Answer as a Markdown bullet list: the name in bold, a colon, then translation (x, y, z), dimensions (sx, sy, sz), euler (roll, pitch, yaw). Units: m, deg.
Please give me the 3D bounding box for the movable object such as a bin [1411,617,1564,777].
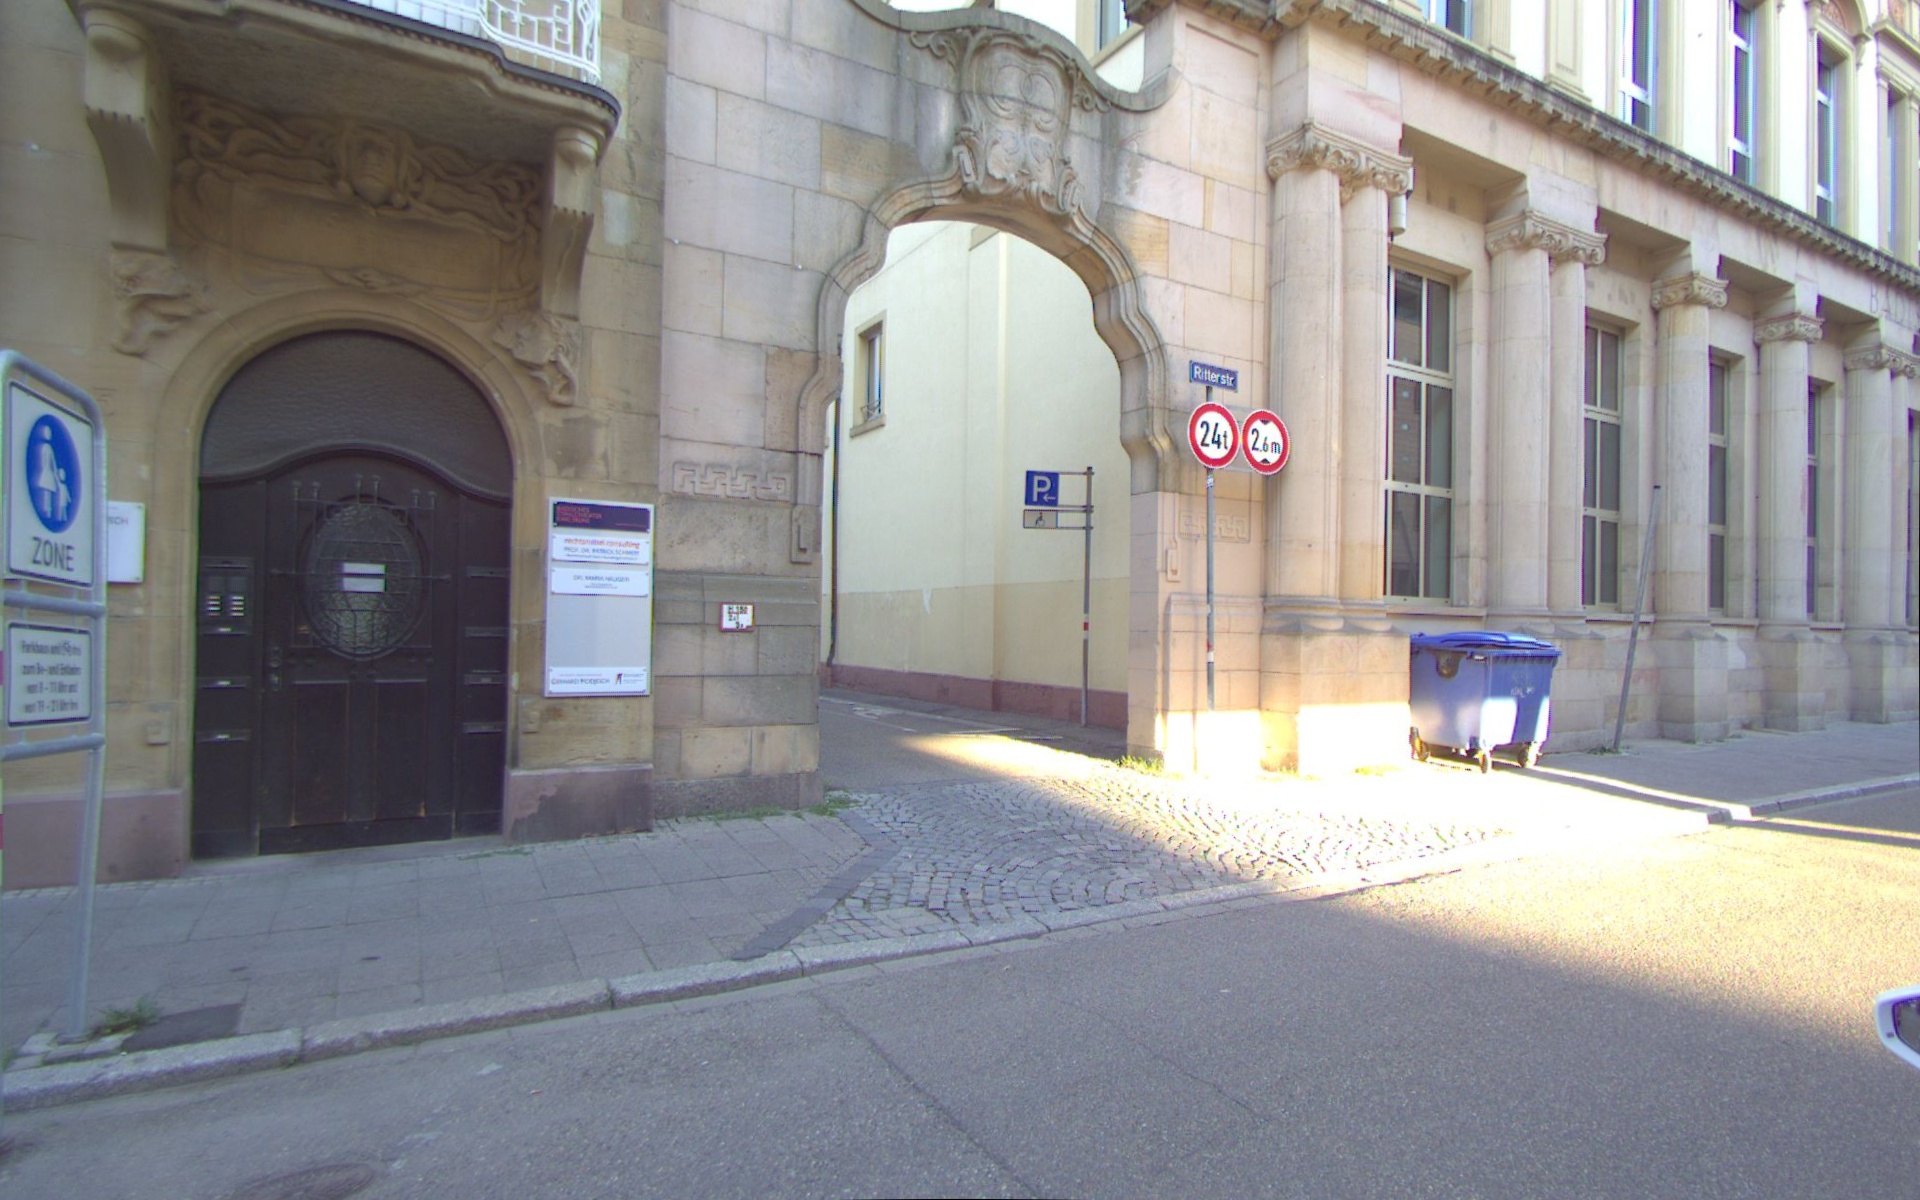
- **movable object such as a bin**: translation (5.410, 0.948, 10.309), dimensions (1.275, 1.523, 0.825), euler (1, -1, -29)
